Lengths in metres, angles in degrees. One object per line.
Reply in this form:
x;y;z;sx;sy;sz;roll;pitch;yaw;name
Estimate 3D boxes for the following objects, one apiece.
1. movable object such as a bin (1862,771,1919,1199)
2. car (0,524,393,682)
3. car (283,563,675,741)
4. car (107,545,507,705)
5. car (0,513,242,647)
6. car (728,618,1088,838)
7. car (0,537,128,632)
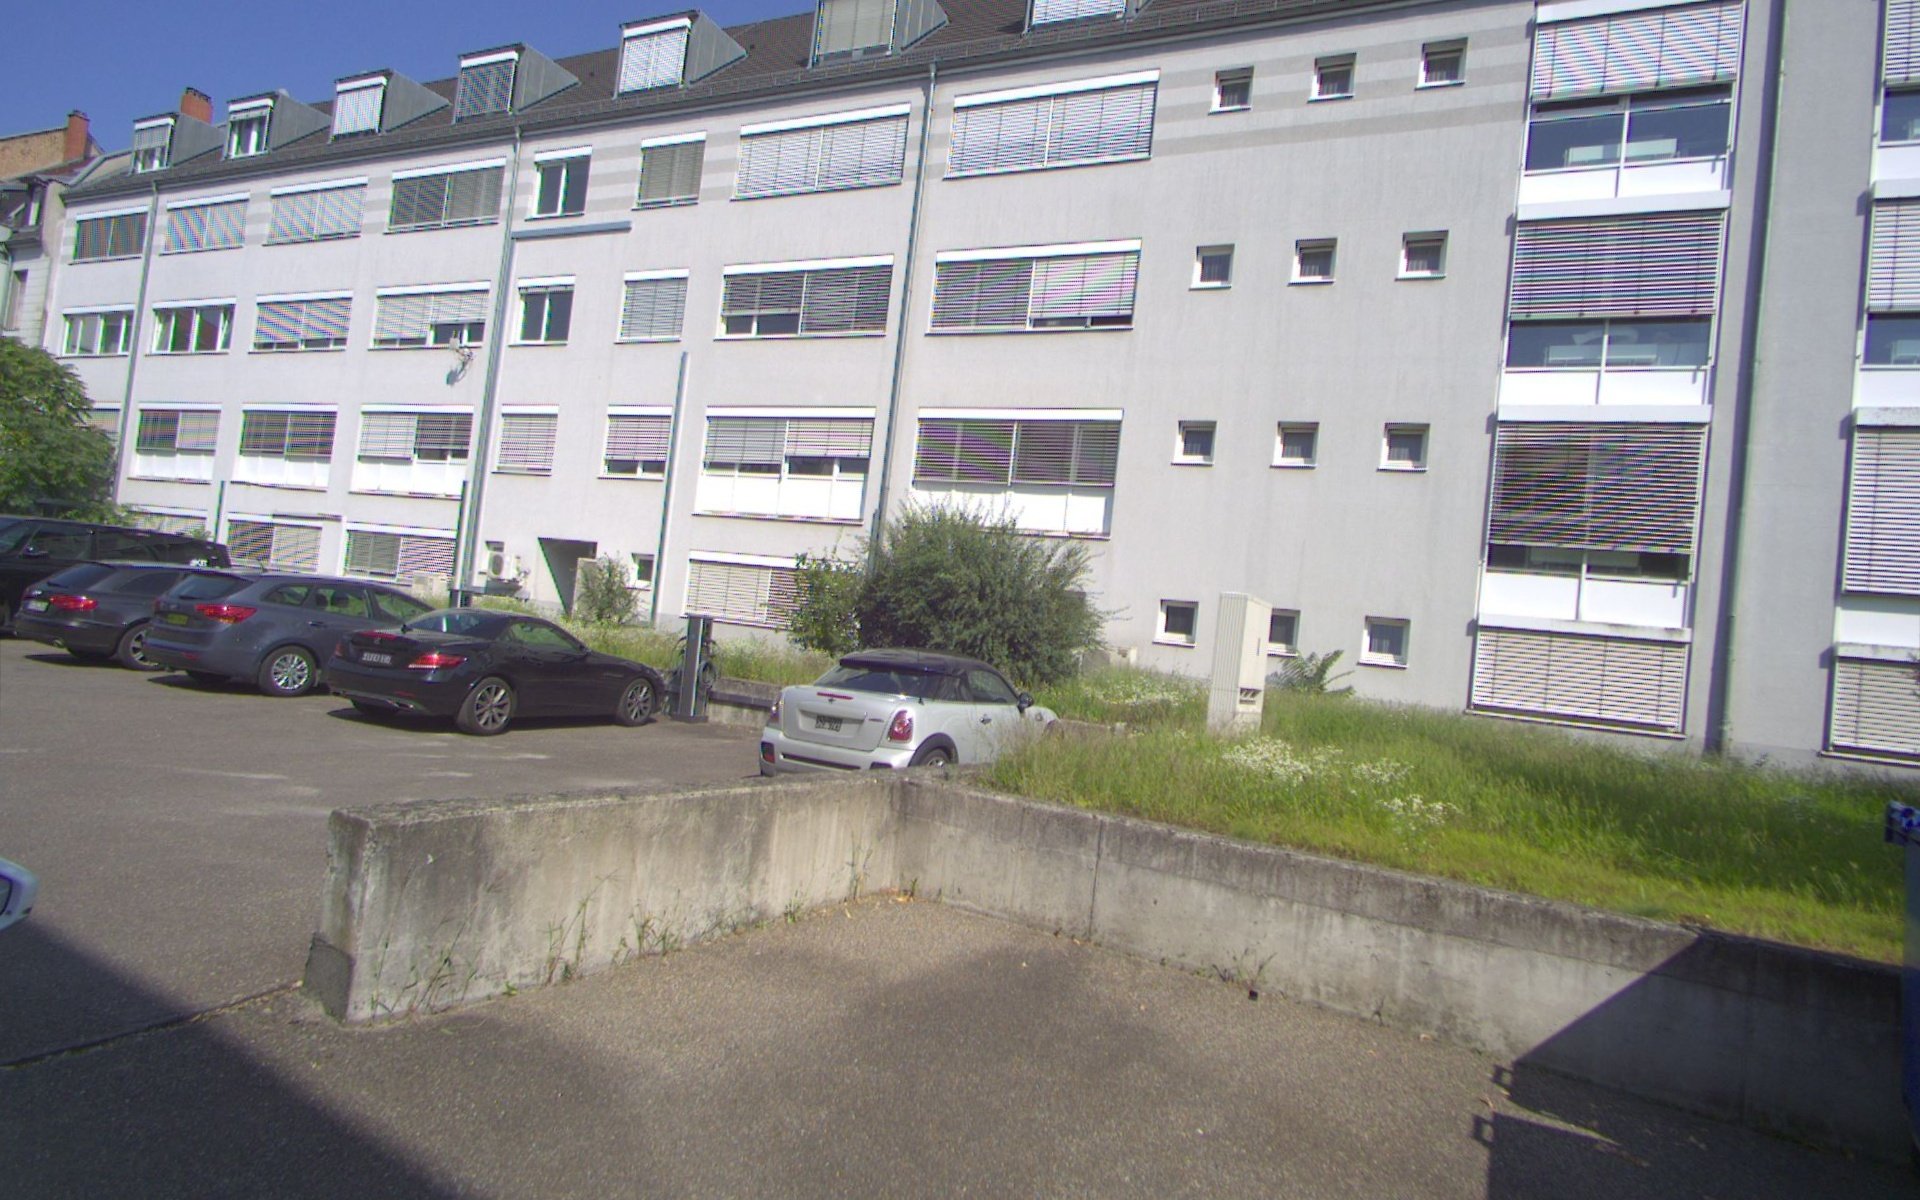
3.402;1.250;2.787;1.099;1.355;1.237;4;-4;34;movable object such as a bin
-10.732;0.156;14.418;1.741;1.710;4.130;5;-4;28;car
-5.386;0.684;11.866;1.862;1.606;3.816;5;-4;21;car
-8.271;0.432;13.157;1.846;1.606;3.876;5;-4;25;car
-14.510;-0.331;16.101;1.848;1.814;4.519;5;-3;21;car
-0.301;1.064;9.753;1.772;1.564;3.623;5;0;29;car
-17.121;-0.387;17.267;1.742;1.499;3.948;5;-3;22;car
